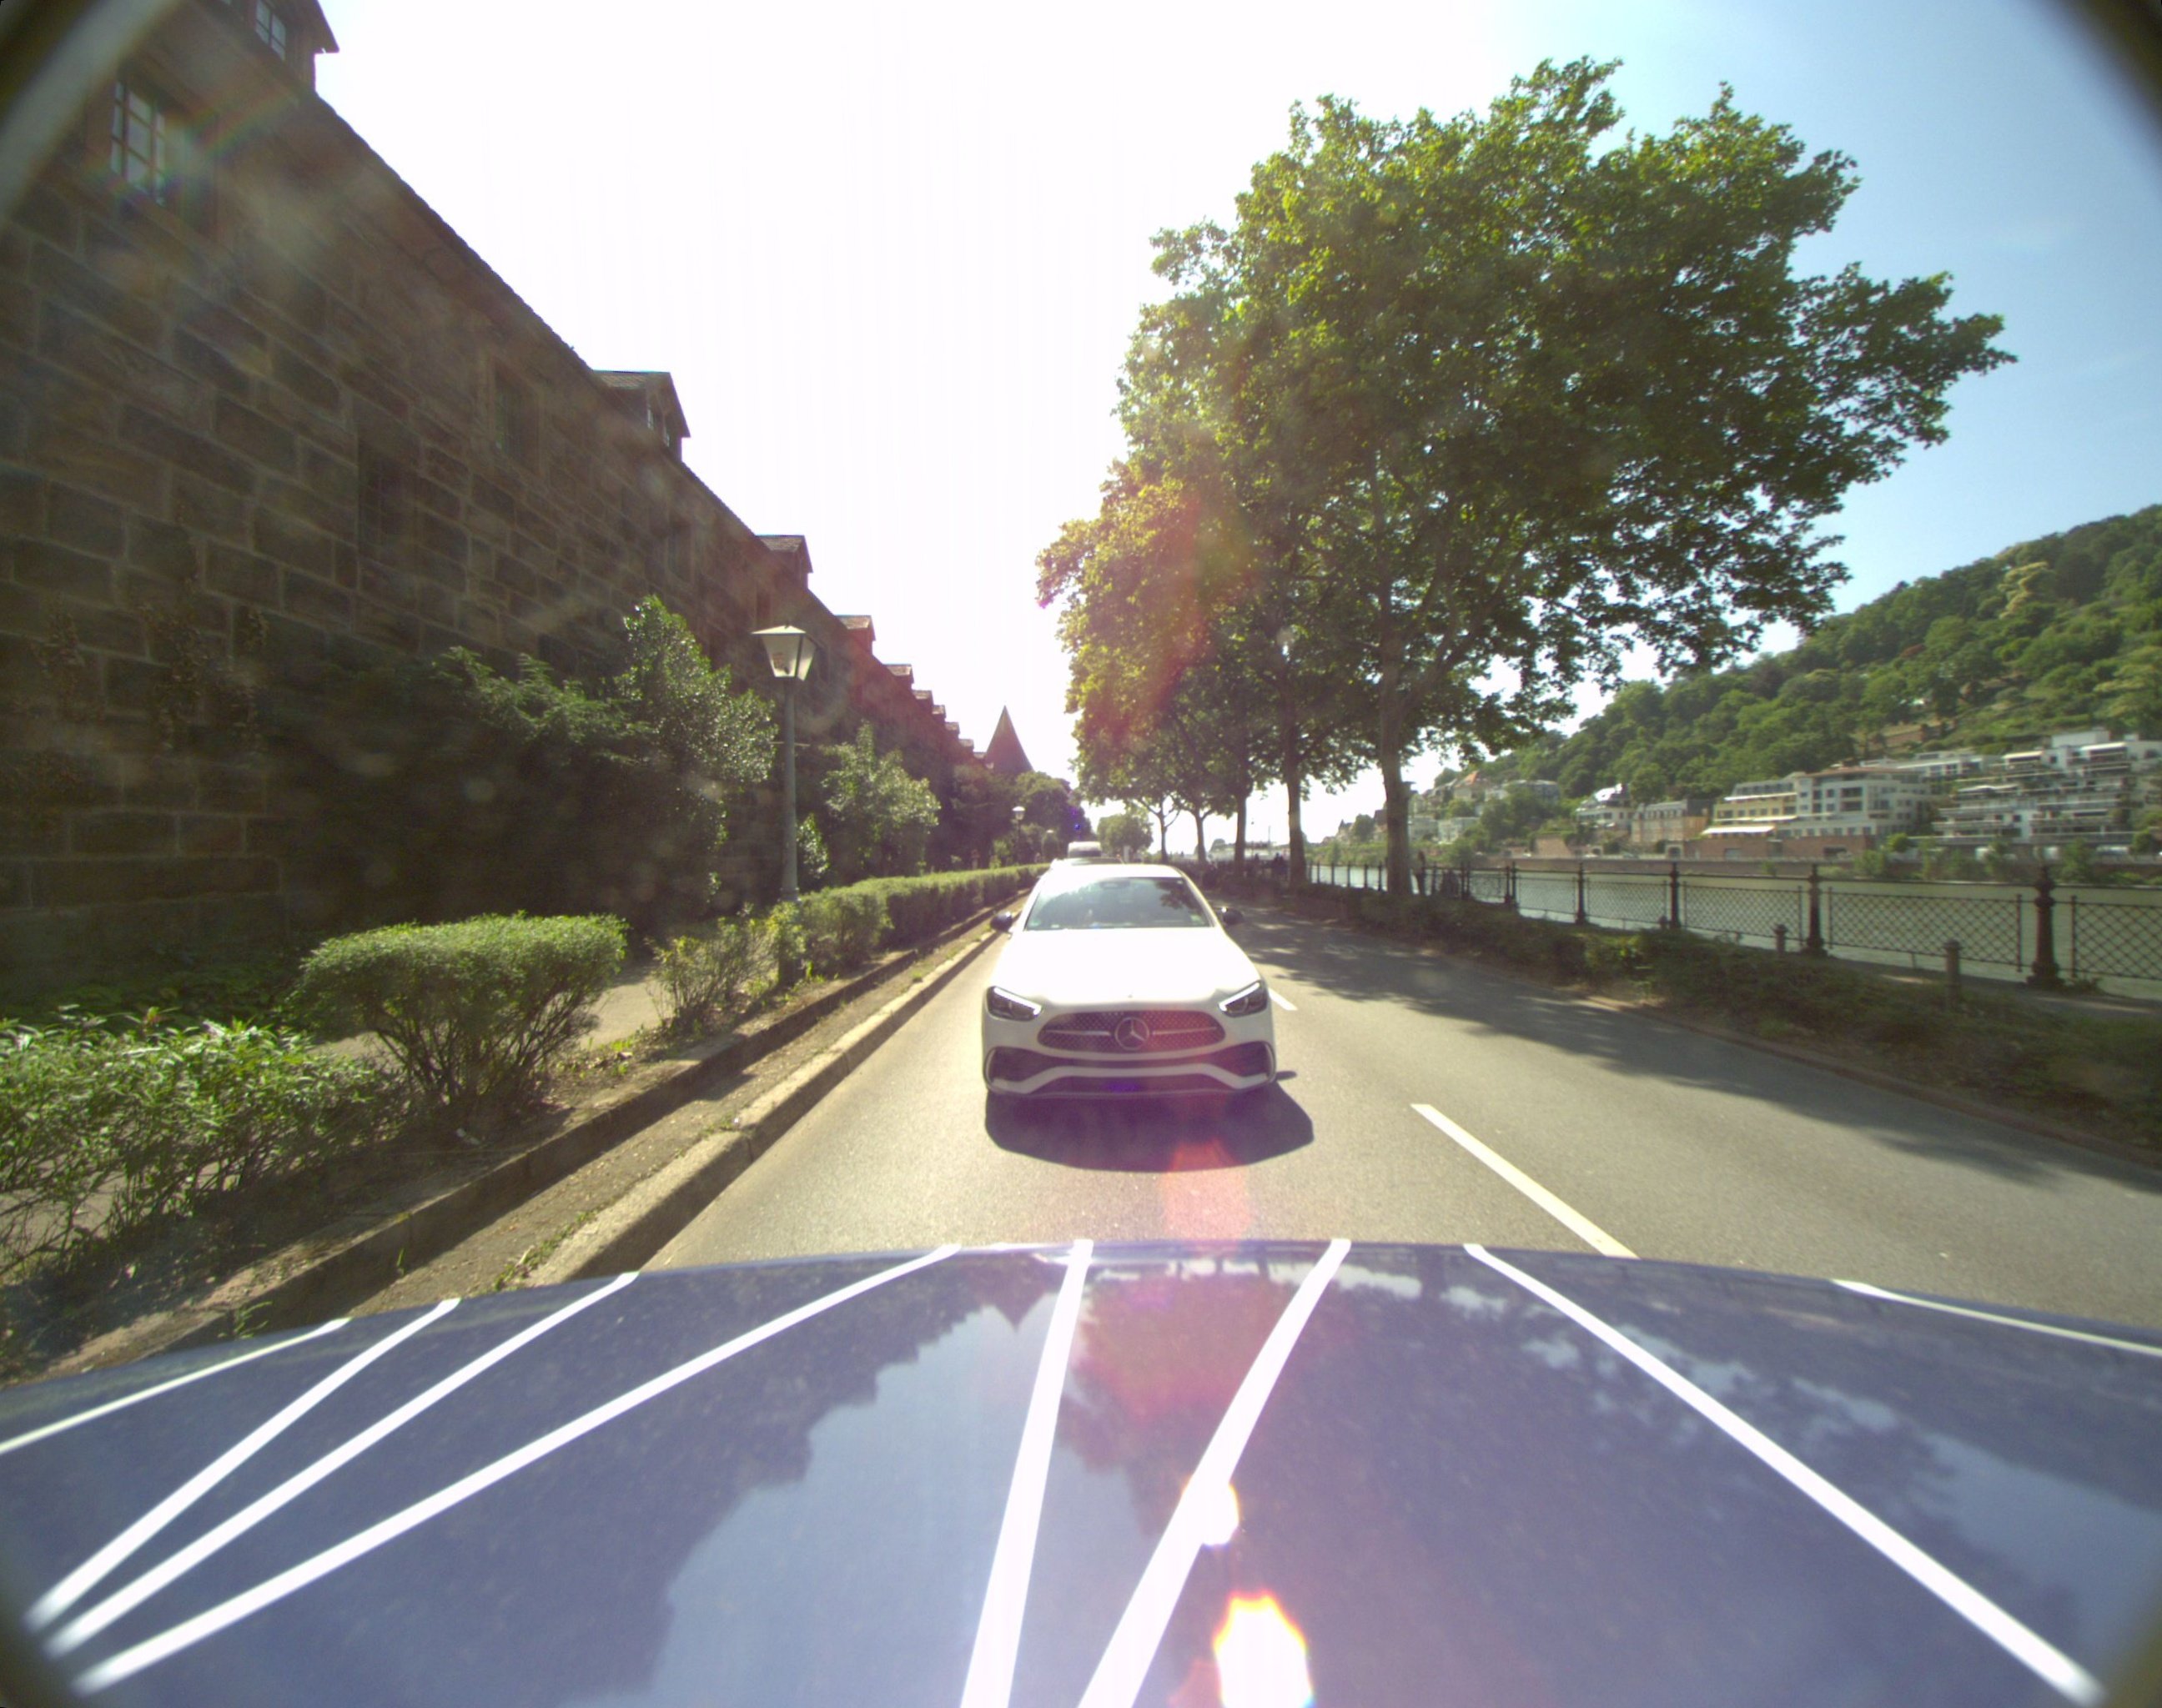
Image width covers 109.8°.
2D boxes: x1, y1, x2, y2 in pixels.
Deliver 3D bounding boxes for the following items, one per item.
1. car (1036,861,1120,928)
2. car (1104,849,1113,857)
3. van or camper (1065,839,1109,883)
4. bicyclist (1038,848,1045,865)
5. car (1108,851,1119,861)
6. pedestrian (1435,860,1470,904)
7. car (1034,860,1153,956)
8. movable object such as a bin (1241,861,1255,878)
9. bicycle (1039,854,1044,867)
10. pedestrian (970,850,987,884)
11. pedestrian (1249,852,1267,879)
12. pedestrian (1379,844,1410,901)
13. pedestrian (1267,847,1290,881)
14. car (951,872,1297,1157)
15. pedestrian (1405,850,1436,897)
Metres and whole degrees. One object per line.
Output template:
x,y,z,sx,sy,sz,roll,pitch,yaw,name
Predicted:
-0.036,0.916,19.070,1.833,1.395,4.424,-2,0,1,car
7.337,-0.195,204.600,2.165,2.002,4.000,-2,1,1,car
0.331,0.398,44.046,2.313,2.358,5.035,1,0,0,van or camper
-3.713,0.245,71.261,0.550,1.513,0.583,-2,1,-1,bicyclist
6.525,0.410,152.735,2.165,2.002,4.000,-2,1,1,car
12.058,0.901,24.680,0.768,1.379,0.770,1,0,0,pedestrian
0.228,0.876,14.247,1.833,1.428,4.270,-2,0,1,car
10.317,0.951,47.039,0.703,1.043,0.783,-2,1,4,movable object such as a bin
-3.694,0.640,71.091,0.406,1.169,1.576,-2,1,-2,bicycle
-4.726,0.601,34.999,0.643,1.555,0.563,-2,1,1,pedestrian
10.737,0.696,46.173,0.897,1.625,1.059,-2,1,6,pedestrian
10.593,0.625,25.681,0.767,1.889,0.771,1,1,8,pedestrian
12.218,0.623,47.003,1.047,2.002,1.036,-1,1,31,pedestrian
0.263,0.930,6.273,1.833,1.395,4.270,-2,0,1,car
12.786,0.713,28.655,0.777,1.748,0.830,1,1,0,pedestrian
